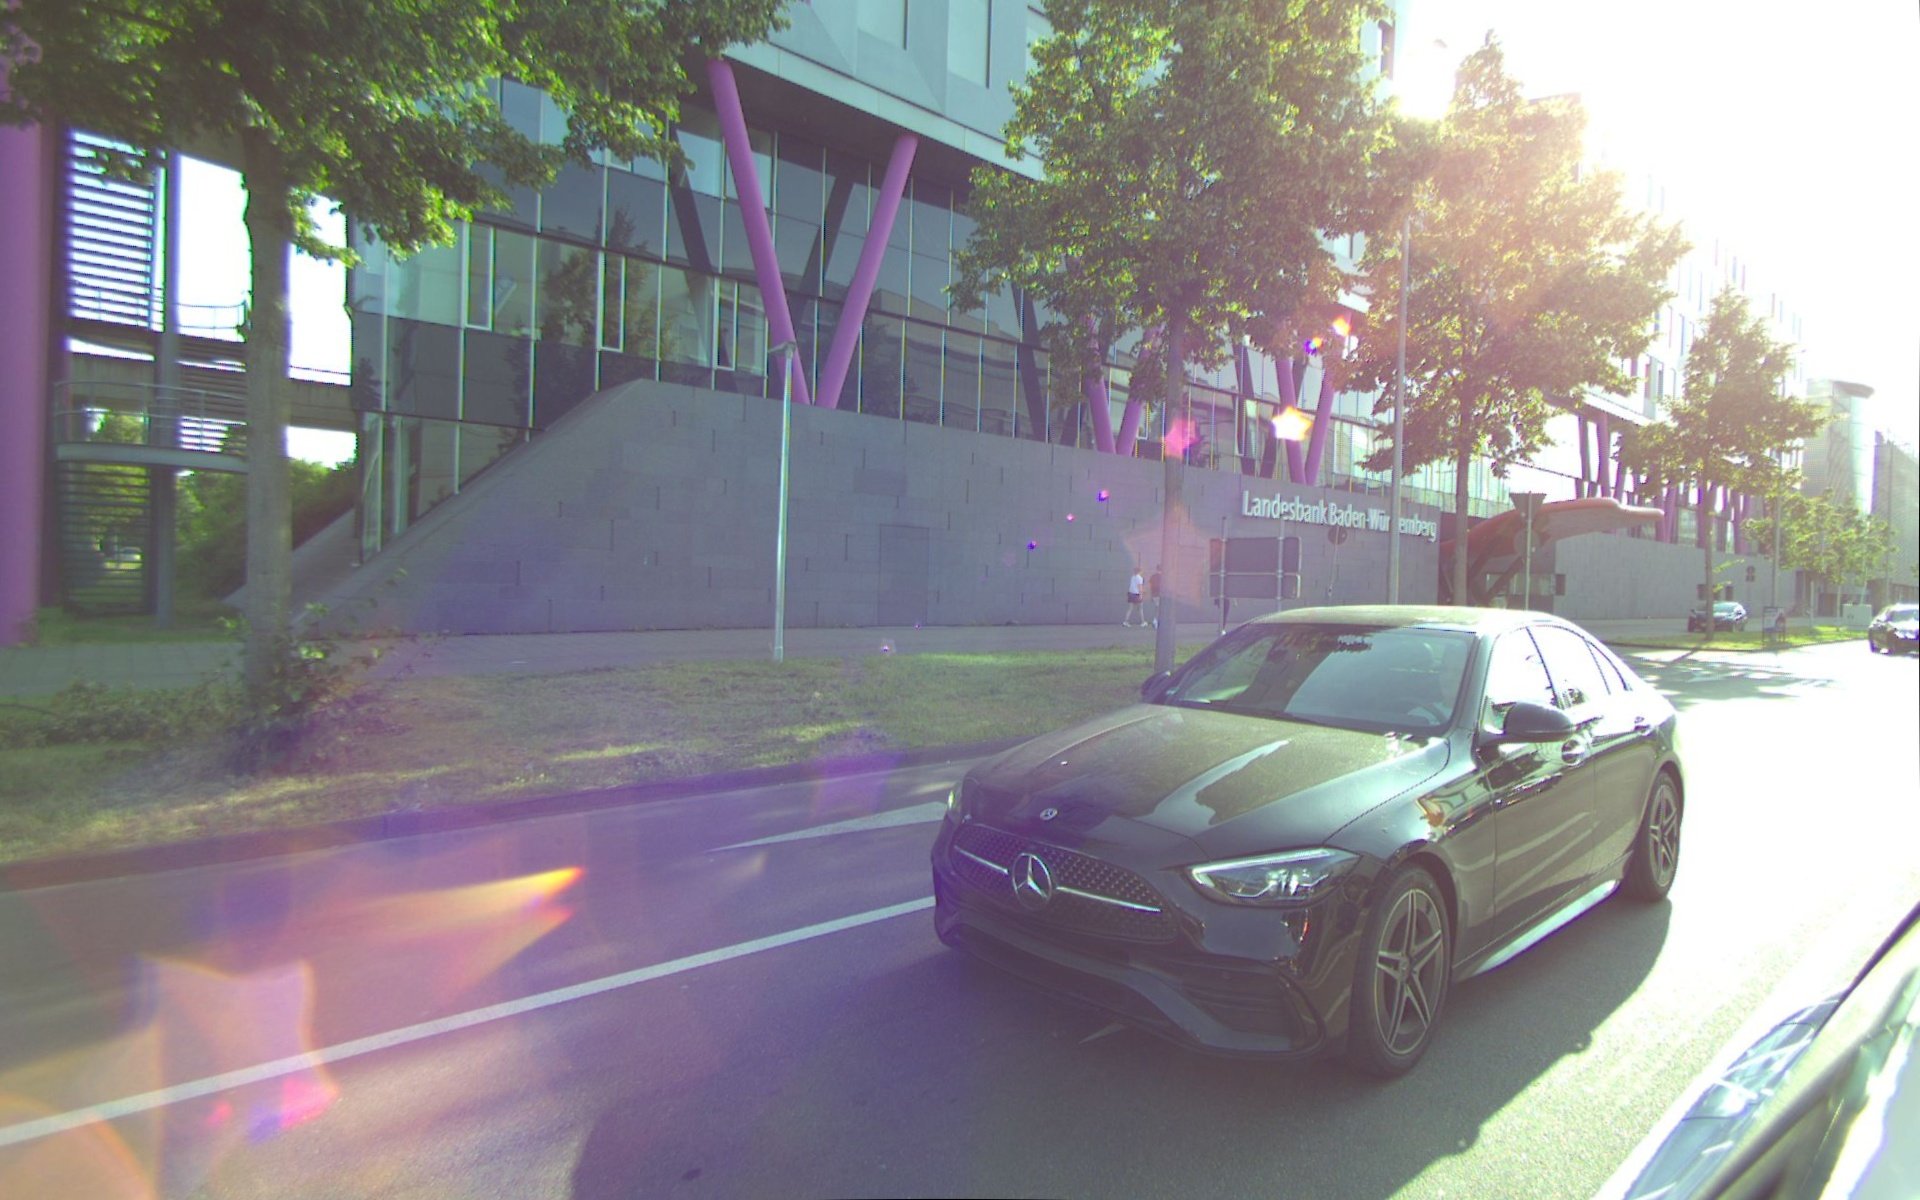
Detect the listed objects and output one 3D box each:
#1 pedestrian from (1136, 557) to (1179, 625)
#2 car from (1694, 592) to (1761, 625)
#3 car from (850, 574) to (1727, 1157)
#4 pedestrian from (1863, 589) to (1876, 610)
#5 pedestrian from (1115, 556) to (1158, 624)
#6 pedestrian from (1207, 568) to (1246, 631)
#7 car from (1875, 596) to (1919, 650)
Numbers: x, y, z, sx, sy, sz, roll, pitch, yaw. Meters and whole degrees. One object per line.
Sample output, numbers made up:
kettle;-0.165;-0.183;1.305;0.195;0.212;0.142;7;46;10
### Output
pedestrian;5.505;-0.256;28.215;0.829;1.815;0.756;1;3;-41
car;34.833;0.391;45.896;4.126;1.407;1.694;1;1;-42
car;1.864;0.679;4.723;4.475;1.468;1.842;1;0;-41
pedestrian;78.610;-0.070;87.465;0.758;1.808;0.725;0;1;-41
pedestrian;5.009;-0.290;28.681;0.838;1.847;0.769;1;3;-41
pedestrian;7.138;-0.017;27.081;0.724;1.659;0.695;1;1;-41
car;28.430;0.631;29.577;1.883;1.444;4.419;0;1;34
